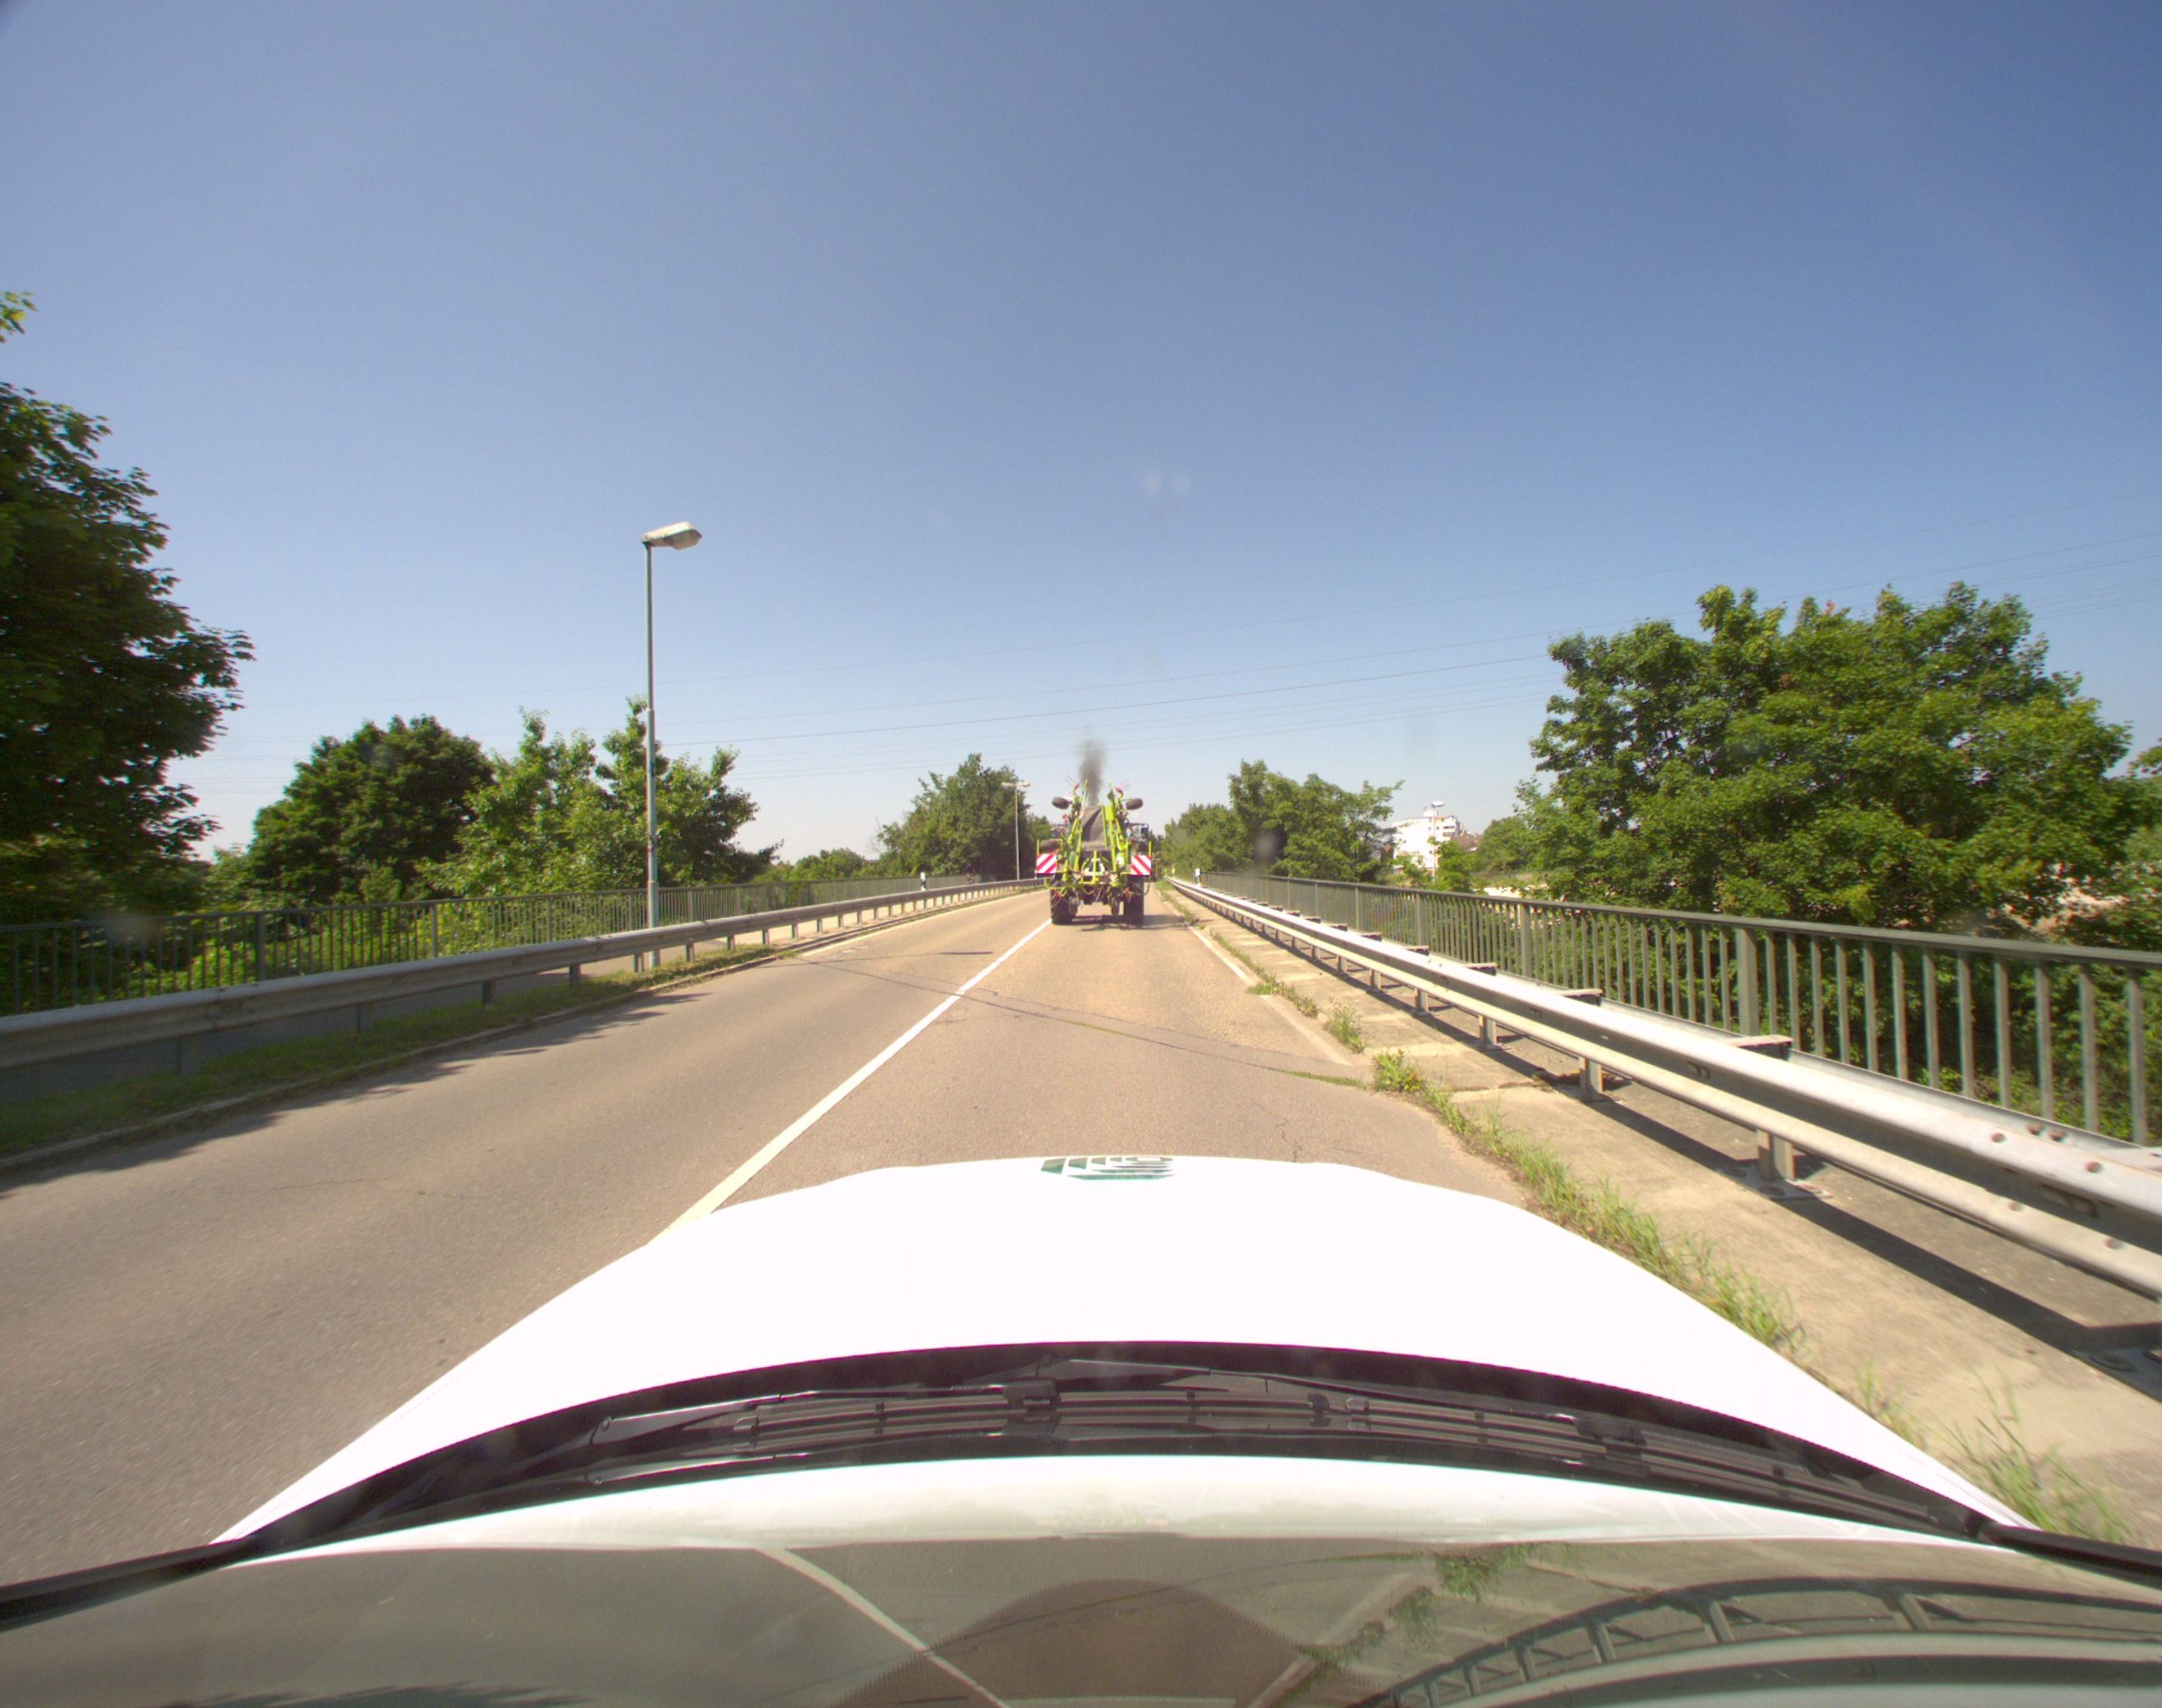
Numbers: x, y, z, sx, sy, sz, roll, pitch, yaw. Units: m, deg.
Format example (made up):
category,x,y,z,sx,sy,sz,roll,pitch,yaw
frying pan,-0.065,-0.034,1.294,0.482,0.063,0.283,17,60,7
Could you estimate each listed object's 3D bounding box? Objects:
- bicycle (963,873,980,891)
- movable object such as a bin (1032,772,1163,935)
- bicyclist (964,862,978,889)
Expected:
category,x,y,z,sx,sy,sz,roll,pitch,yaw
bicycle,-6.783,1.728,50.538,0.675,1.001,2.119,-2,0,1
movable object such as a bin,0.408,0.003,20.346,2.745,3.444,5.670,-1,0,1
bicyclist,-6.822,1.321,50.575,0.762,1.634,0.895,-1,-1,1
